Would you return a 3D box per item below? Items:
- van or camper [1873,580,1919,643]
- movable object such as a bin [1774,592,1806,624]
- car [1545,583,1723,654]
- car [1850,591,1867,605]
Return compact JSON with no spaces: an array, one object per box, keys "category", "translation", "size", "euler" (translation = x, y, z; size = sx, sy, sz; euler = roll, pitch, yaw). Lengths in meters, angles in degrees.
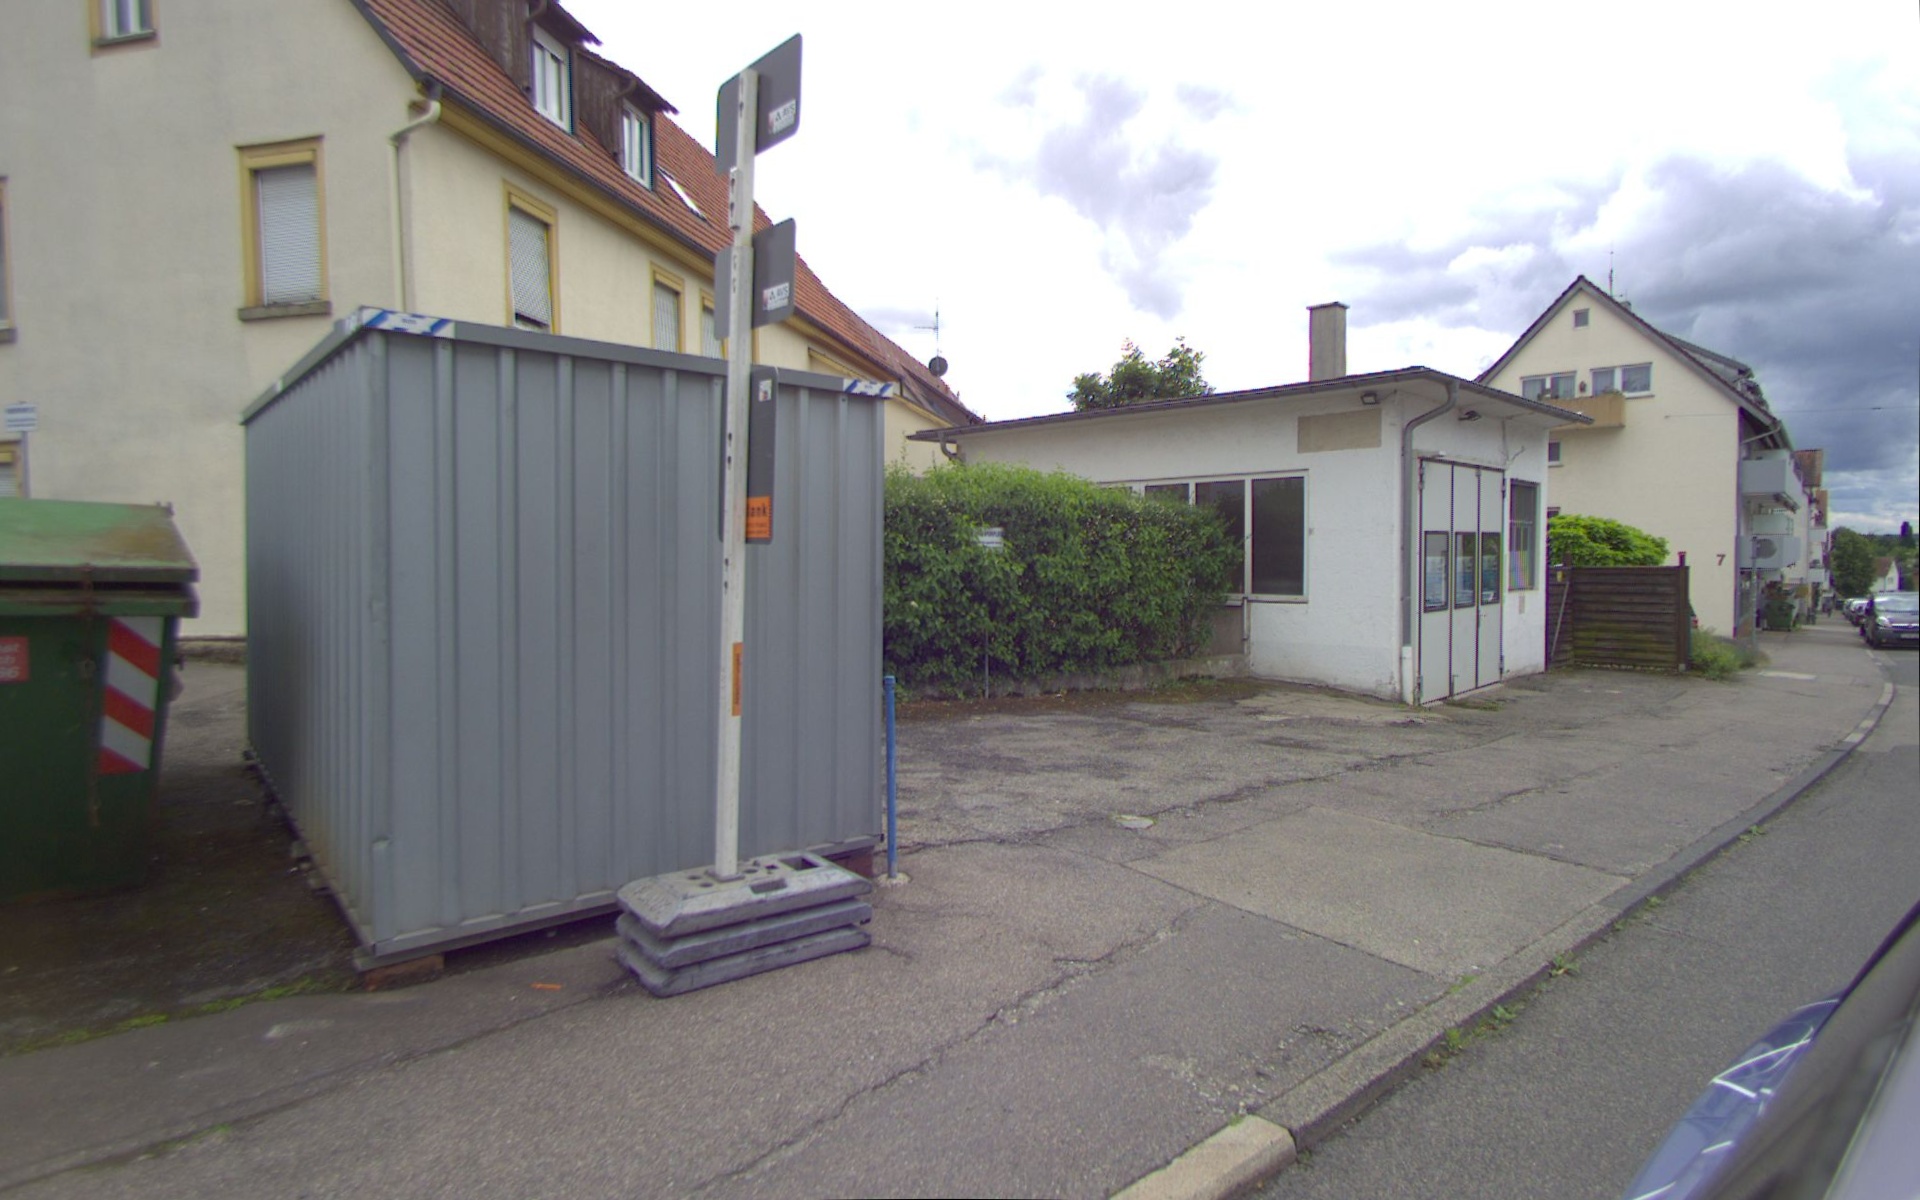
[{"category":"van or camper","translation":[32.910,0.356,34.846],"size":[1.991,2.039,4.989],"euler":[-2,-1,41]},{"category":"movable object such as a bin","translation":[38.219,0.363,46.619],"size":[1.079,1.455,1.241],"euler":[-1,-1,42]},{"category":"car","translation":[16.343,0.394,24.727],"size":[3.286,1.538,1.691],"euler":[2,1,23]},{"category":"car","translation":[120.409,-0.226,135.640],"size":[1.607,1.822,3.802],"euler":[-1,0,41]}]
